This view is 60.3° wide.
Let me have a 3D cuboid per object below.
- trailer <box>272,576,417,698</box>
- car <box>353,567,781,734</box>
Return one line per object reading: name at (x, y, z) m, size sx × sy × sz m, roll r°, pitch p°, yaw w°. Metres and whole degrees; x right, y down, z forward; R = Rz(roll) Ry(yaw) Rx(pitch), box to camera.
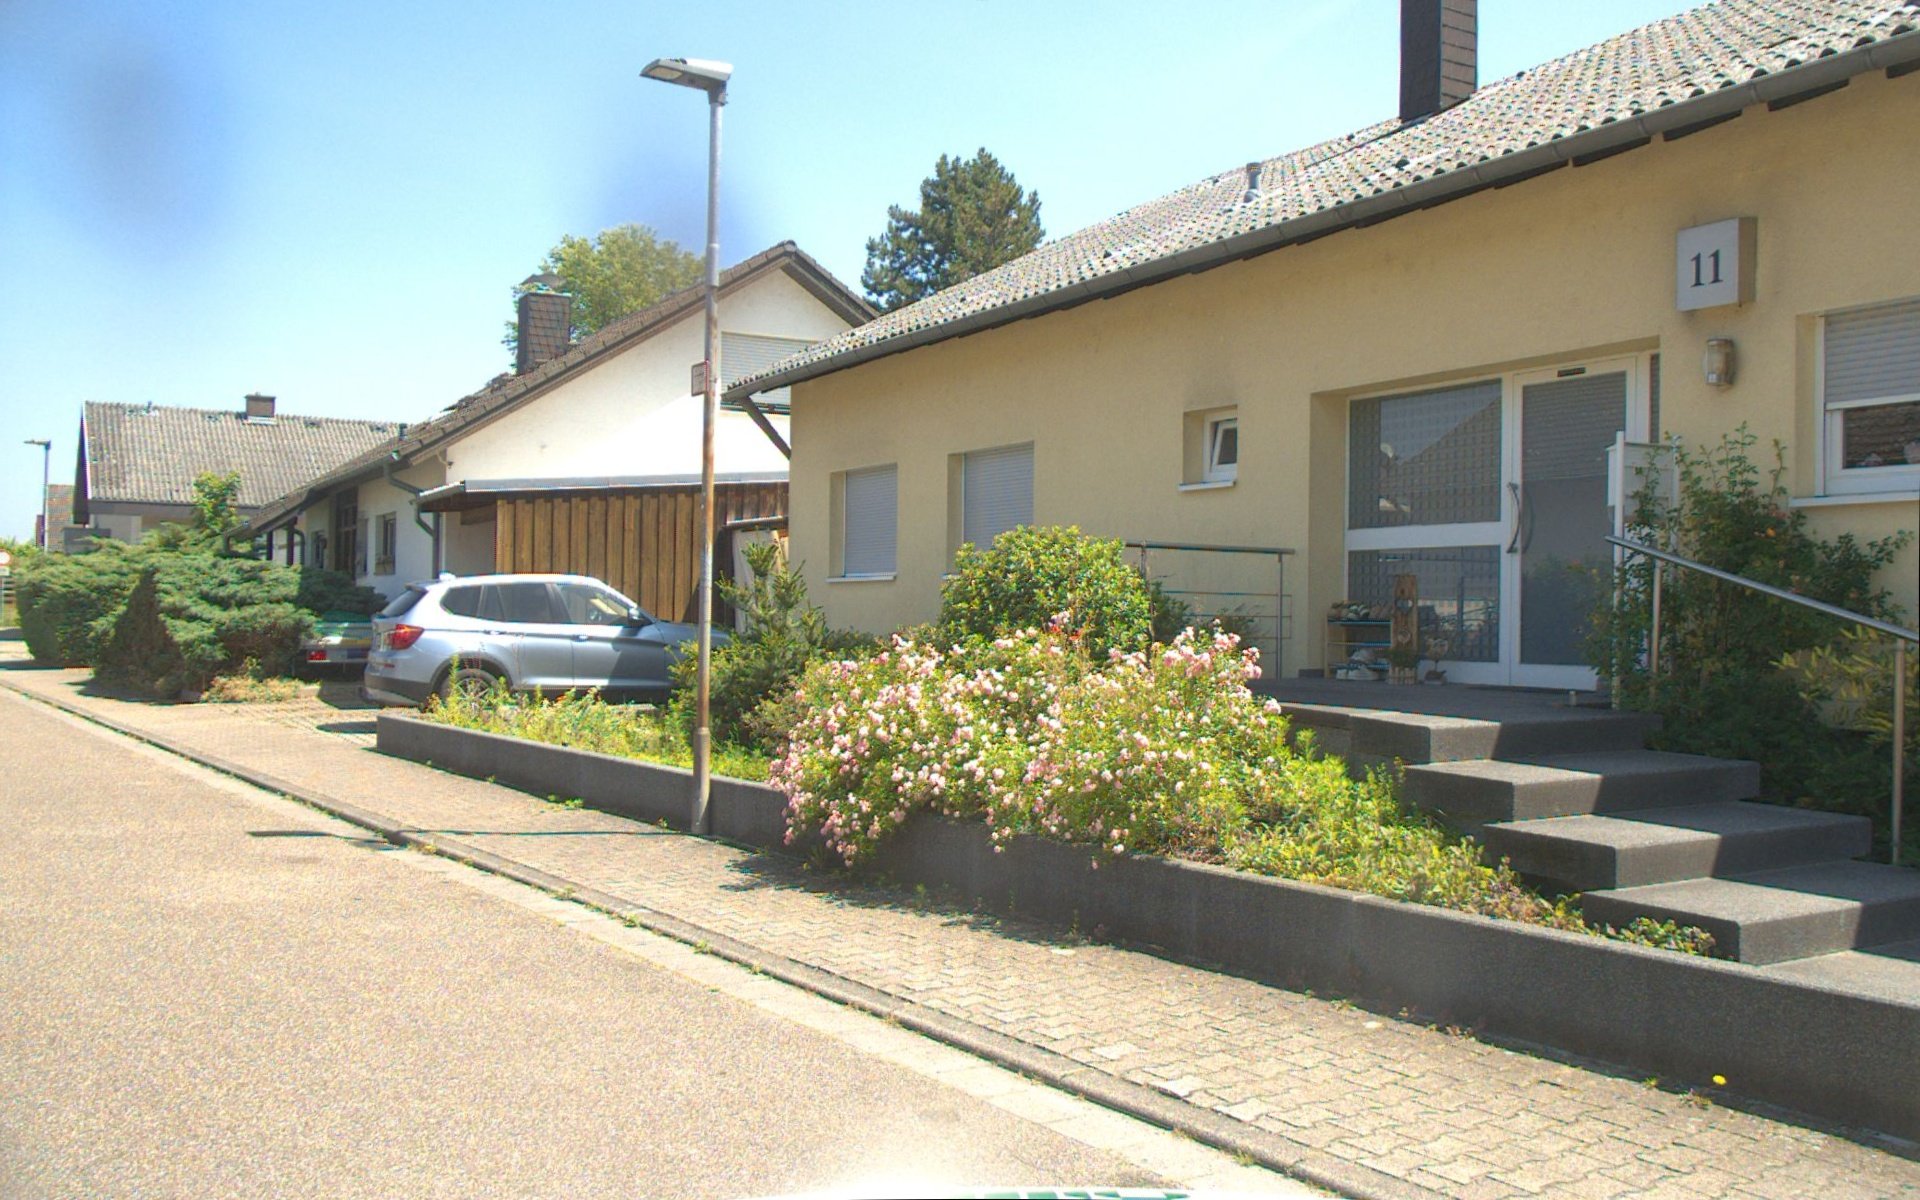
trailer at (-9.373, 0.488, 25.070) m, size 1.570 × 1.701 × 3.264 m, roll -1°, pitch 1°, yaw -30°
car at (-4.524, 0.511, 19.199) m, size 4.574 × 1.732 × 1.694 m, roll -1°, pitch 0°, yaw -28°
